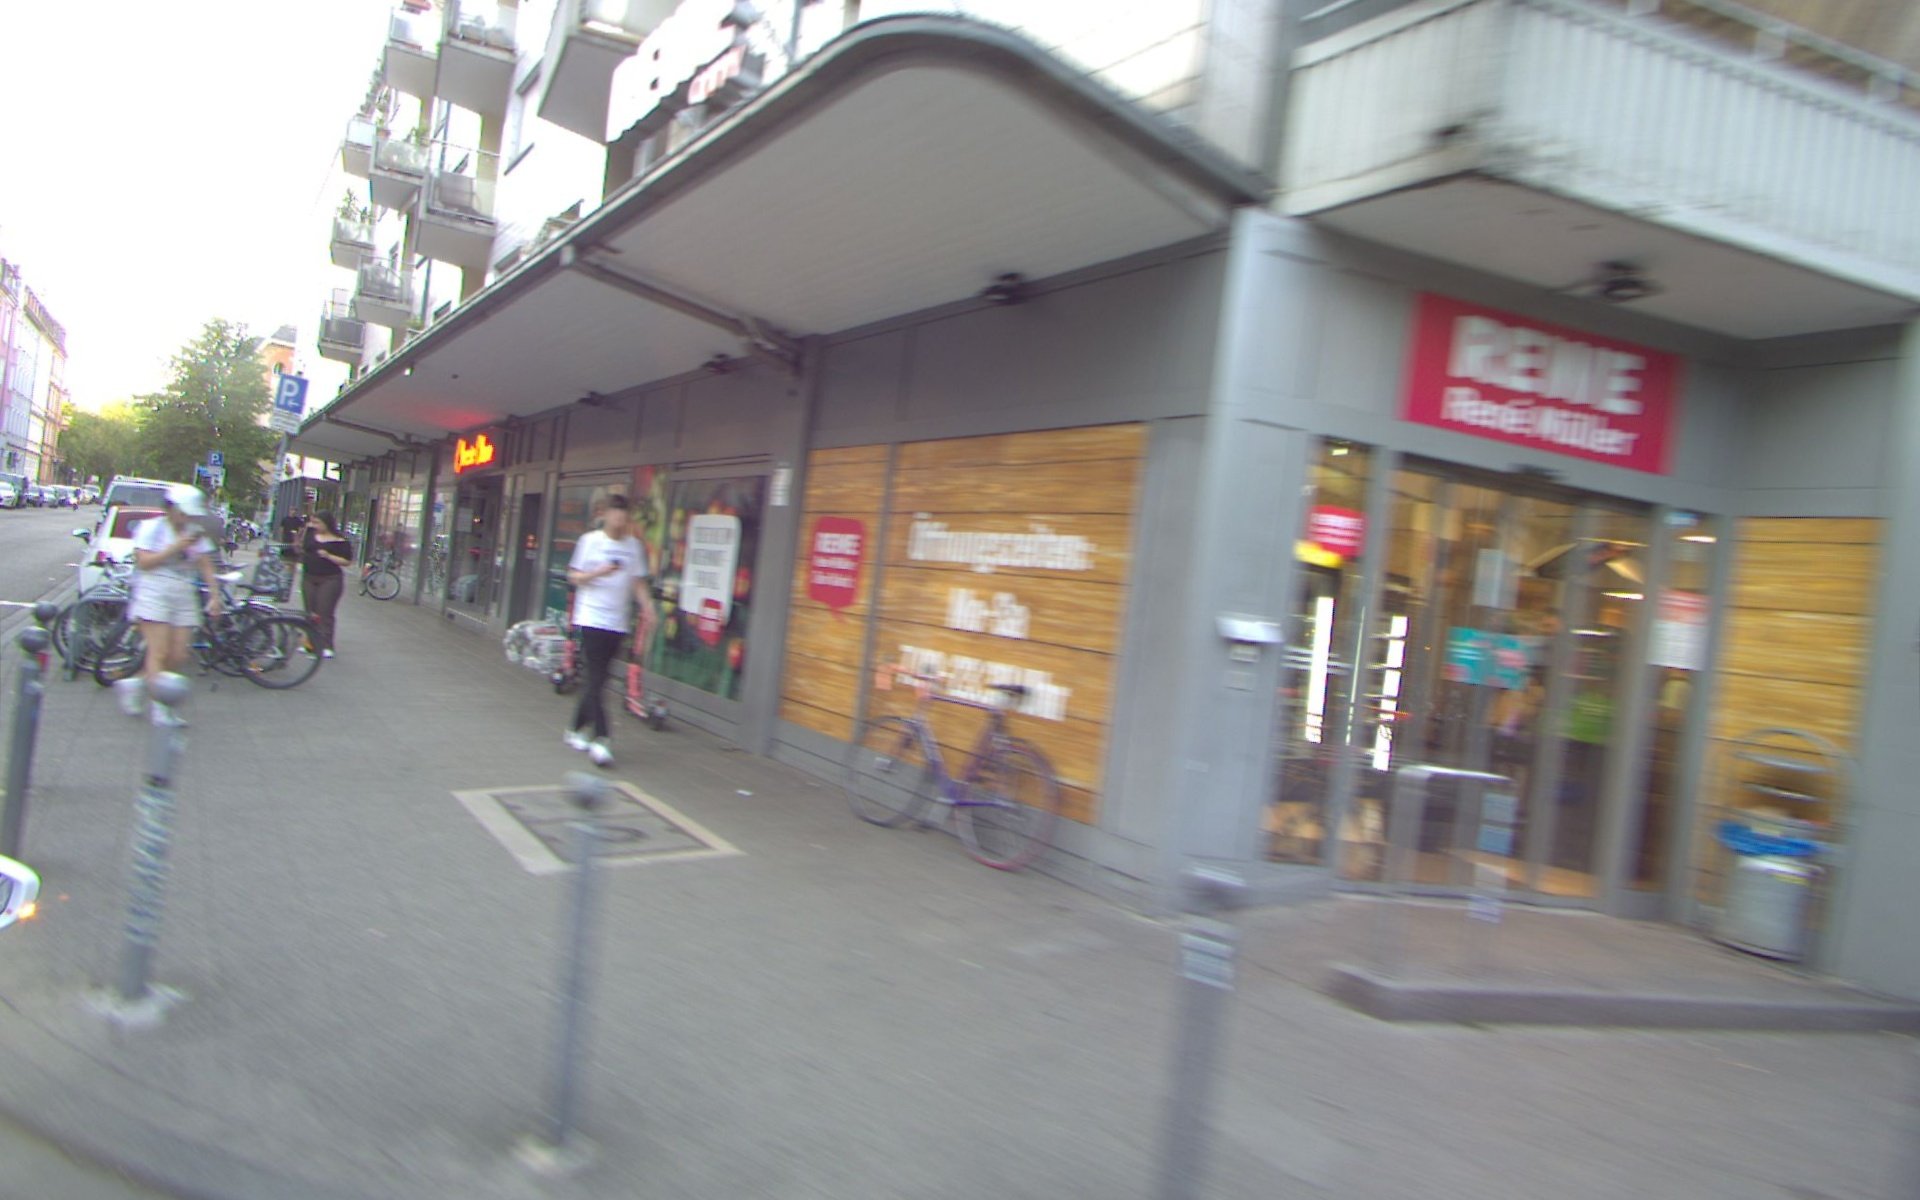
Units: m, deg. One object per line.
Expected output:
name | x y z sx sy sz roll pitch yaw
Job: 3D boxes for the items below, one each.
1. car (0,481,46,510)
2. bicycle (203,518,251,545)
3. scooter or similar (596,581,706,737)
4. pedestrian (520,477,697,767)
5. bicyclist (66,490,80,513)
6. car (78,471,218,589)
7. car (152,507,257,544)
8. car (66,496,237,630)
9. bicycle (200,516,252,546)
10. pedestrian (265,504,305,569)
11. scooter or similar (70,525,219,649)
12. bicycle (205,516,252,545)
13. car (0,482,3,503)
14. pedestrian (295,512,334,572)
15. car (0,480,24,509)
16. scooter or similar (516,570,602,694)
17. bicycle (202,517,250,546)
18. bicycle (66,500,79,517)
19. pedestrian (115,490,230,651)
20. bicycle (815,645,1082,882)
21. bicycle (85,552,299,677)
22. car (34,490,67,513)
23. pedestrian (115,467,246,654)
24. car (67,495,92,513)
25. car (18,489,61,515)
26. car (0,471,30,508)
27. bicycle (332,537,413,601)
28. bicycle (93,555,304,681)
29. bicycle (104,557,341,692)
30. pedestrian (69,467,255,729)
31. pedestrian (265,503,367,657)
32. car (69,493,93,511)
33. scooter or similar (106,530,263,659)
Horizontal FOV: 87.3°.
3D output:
car | -62.306 -6.911 66.919 1.730 1.434 4.728 10 -3 -38
bicycle | -33.834 -3.156 46.433 1.711 1.067 0.647 5 1 -35
scooter or similar | -2.813 0.491 9.063 0.474 1.233 1.611 6 0 -31
pedestrian | -2.603 0.136 7.382 0.756 1.937 1.177 4 2 -37
bicyclist | -65.157 -7.244 73.907 0.642 1.641 0.907 5 2 -42
car | -16.821 -1.483 21.008 1.948 1.999 4.950 5 1 -37
car | -41.882 -4.108 55.839 4.408 1.474 1.757 6 1 -44
car | -11.165 -0.550 13.898 1.585 1.520 3.385 5 1 -40
bicycle | -32.864 -3.092 45.059 0.570 1.146 1.720 6 1 40
pedestrian | -20.186 -1.878 30.096 0.701 1.851 0.856 5 0 -21
scooter or similar | -8.693 -0.141 10.776 0.527 1.186 1.163 8 2 1
bicycle | -34.446 -3.271 47.402 1.711 1.132 0.647 5 1 -35
car | -48.910 -5.307 49.723 1.709 1.474 3.959 10 -2 -37
pedestrian | -19.410 -1.735 30.254 0.700 1.686 0.741 5 0 -19
car | -53.458 -5.975 55.804 1.778 1.438 4.435 11 -2 -40
scooter or similar | -4.325 0.325 10.909 0.528 1.218 1.161 7 0 -11
bicycle | -33.458 -3.119 45.885 1.711 1.067 0.647 5 1 -35
bicycle | -65.202 -6.742 73.915 0.642 1.095 2.142 5 1 -42
pedestrian | -8.409 -0.301 10.757 0.580 1.620 0.647 6 1 12
bicycle | -0.138 0.885 5.921 0.454 1.036 1.764 8 -1 -39
bicycle | -7.075 0.147 9.348 1.468 1.014 0.506 6 0 -32
car | -73.680 -7.960 81.550 1.630 1.583 3.740 9 -1 -39
pedestrian | -7.862 -0.381 10.159 0.652 1.778 0.736 7 1 29
car | -90.789 -9.882 103.734 1.693 1.442 3.976 10 -2 -40
car | -67.709 -7.209 74.054 1.828 1.473 4.162 11 -3 -38
car | -56.831 -6.622 59.718 1.987 1.945 4.895 10 -2 -40
bicycle | -12.702 -0.672 21.735 1.686 1.211 0.909 6 1 38
bicycle | -6.776 0.179 8.992 1.411 0.996 0.505 6 0 -41
bicycle | -6.260 0.232 8.594 1.541 1.014 0.505 6 0 -41
pedestrian | -5.554 -0.026 7.008 0.868 1.673 0.662 7 3 29
pedestrian | -7.379 -0.222 11.554 0.714 1.653 0.561 6 2 -11
car | -94.511 -10.546 108.214 1.693 1.570 3.976 10 -2 -40
scooter or similar | -7.985 -0.042 10.379 0.530 1.186 1.156 10 3 44
